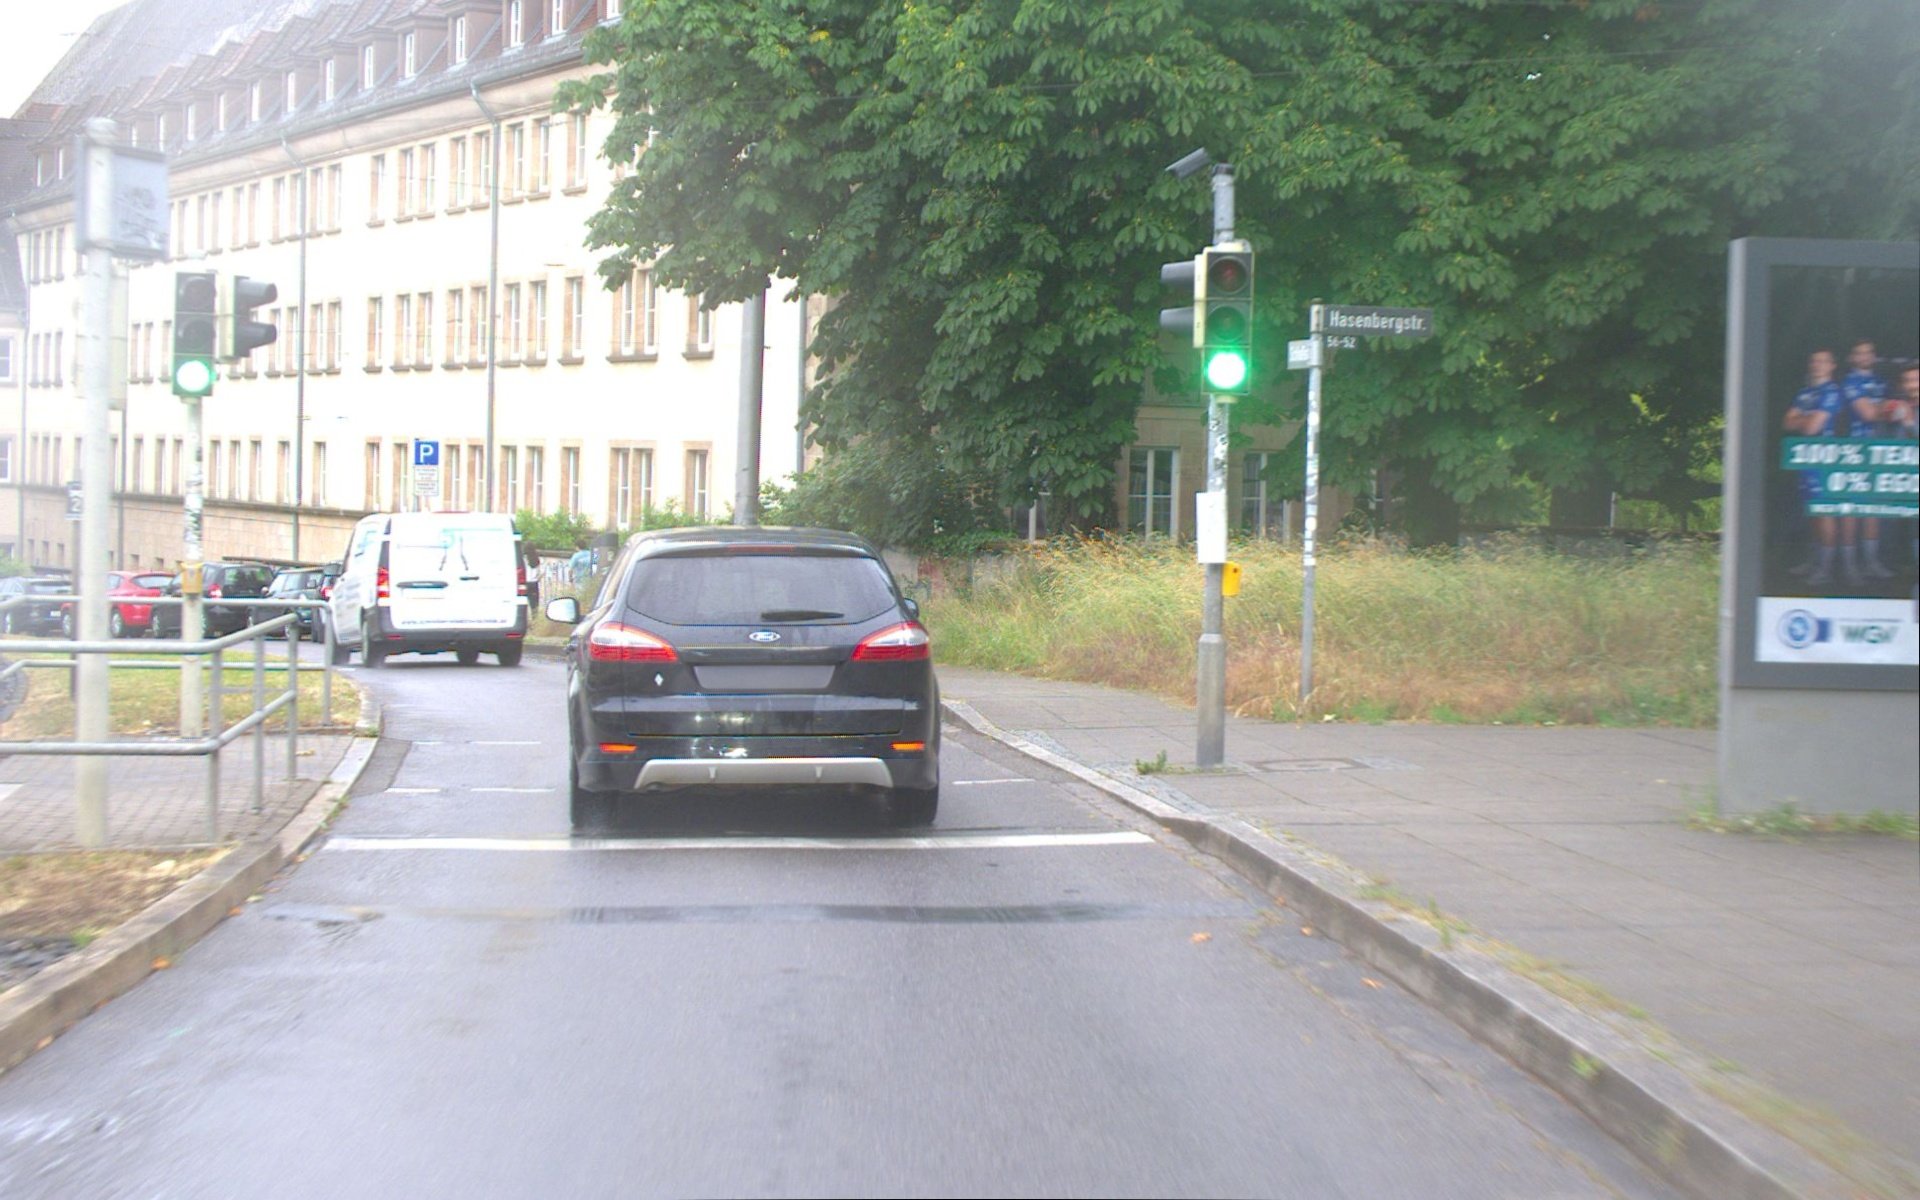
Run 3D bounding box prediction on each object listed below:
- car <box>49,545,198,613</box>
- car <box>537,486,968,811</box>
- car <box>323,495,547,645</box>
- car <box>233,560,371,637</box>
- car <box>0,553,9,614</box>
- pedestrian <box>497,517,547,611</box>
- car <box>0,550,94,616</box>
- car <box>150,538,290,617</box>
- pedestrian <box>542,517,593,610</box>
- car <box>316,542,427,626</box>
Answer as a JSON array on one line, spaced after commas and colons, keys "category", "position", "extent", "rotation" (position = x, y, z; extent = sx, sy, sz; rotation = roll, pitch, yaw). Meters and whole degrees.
[{"category": "car", "position": [-18.521, -0.449, 76.012], "extent": [1.666, 1.471, 4.065], "rotation": [1, 0, -38]}, {"category": "car", "position": [-1.196, 0.183, 17.876], "extent": [1.919, 1.474, 4.001], "rotation": [-1, 1, -8]}, {"category": "car", "position": [-6.538, -0.389, 42.437], "extent": [2.136, 1.739, 4.219], "rotation": [-1, 1, -17]}, {"category": "car", "position": [-12.741, -0.044, 66.437], "extent": [1.536, 1.411, 3.644], "rotation": [-2, 1, -29]}, {"category": "car", "position": [-25.138, -0.385, 85.161], "extent": [1.666, 1.471, 4.108], "rotation": [-2, 1, -37]}, {"category": "pedestrian", "position": [-8.301, -0.682, 65.190], "extent": [0.717, 1.748, 0.739], "rotation": [-1, 1, -25]}, {"category": "car", "position": [-21.835, -0.398, 80.326], "extent": [1.666, 1.471, 4.457], "rotation": [-2, 1, -34]}, {"category": "car", "position": [-15.370, -0.463, 71.250], "extent": [1.665, 1.567, 3.856], "rotation": [-2, 1, -31]}, {"category": "pedestrian", "position": [-7.486, -0.697, 65.564], "extent": [0.717, 1.748, 0.739], "rotation": [-1, 1, -25]}, {"category": "car", "position": [-10.787, -0.307, 62.930], "extent": [1.597, 1.460, 2.721], "rotation": [-2, 1, -18]}]
